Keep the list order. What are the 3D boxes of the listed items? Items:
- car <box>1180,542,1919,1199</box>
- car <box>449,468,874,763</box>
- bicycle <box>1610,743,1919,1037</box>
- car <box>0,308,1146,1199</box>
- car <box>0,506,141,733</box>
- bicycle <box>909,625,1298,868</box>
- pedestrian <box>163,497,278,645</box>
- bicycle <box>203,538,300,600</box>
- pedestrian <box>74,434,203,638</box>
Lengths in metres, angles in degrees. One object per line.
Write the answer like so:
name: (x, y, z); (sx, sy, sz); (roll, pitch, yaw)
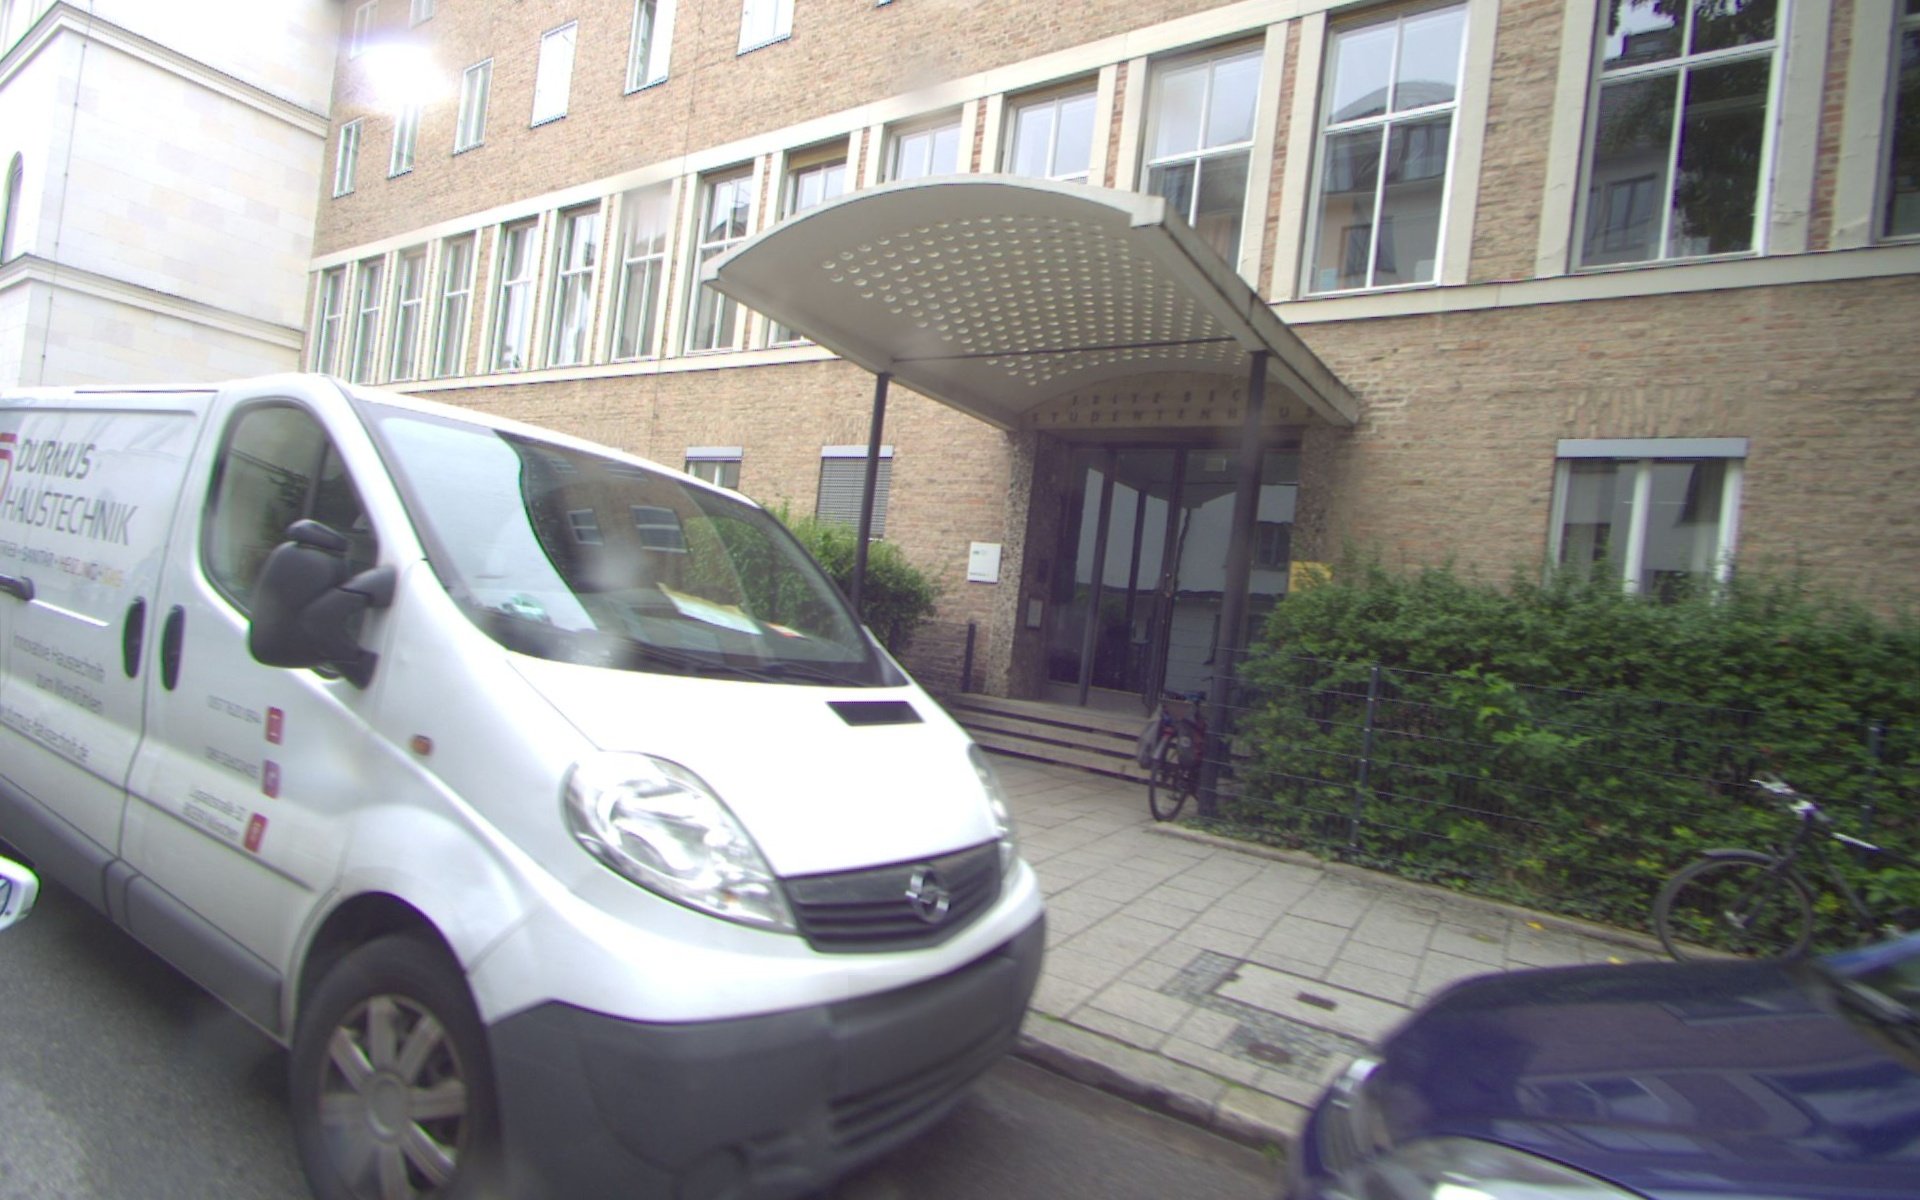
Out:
car: (2.531, 1.019, 1.173); (4.142, 1.619, 1.812); (7, -1, 28)
car: (-2.648, 0.083, 8.840); (3.204, 2.037, 1.666); (7, -1, 32)
bicycle: (4.468, 1.426, 4.772); (2.186, 1.087, 0.671); (7, 0, 31)
car: (-2.019, 0.346, 3.719); (4.795, 1.947, 1.884); (7, -1, 33)
car: (-7.933, -0.075, 7.469); (4.134, 1.434, 1.675); (7, -2, 35)
bicycle: (0.966, 0.966, 7.272); (2.581, 1.227, 0.722); (7, 0, 32)
pedestrian: (-9.328, -0.363, 12.699); (0.741, 1.713, 0.857); (8, 0, 41)
bicycle: (-13.761, -0.584, 19.573); (0.343, 1.055, 1.429); (7, 0, 34)
pedestrian: (-9.589, -0.738, 11.744); (0.801, 2.223, 0.793); (7, -1, 38)
